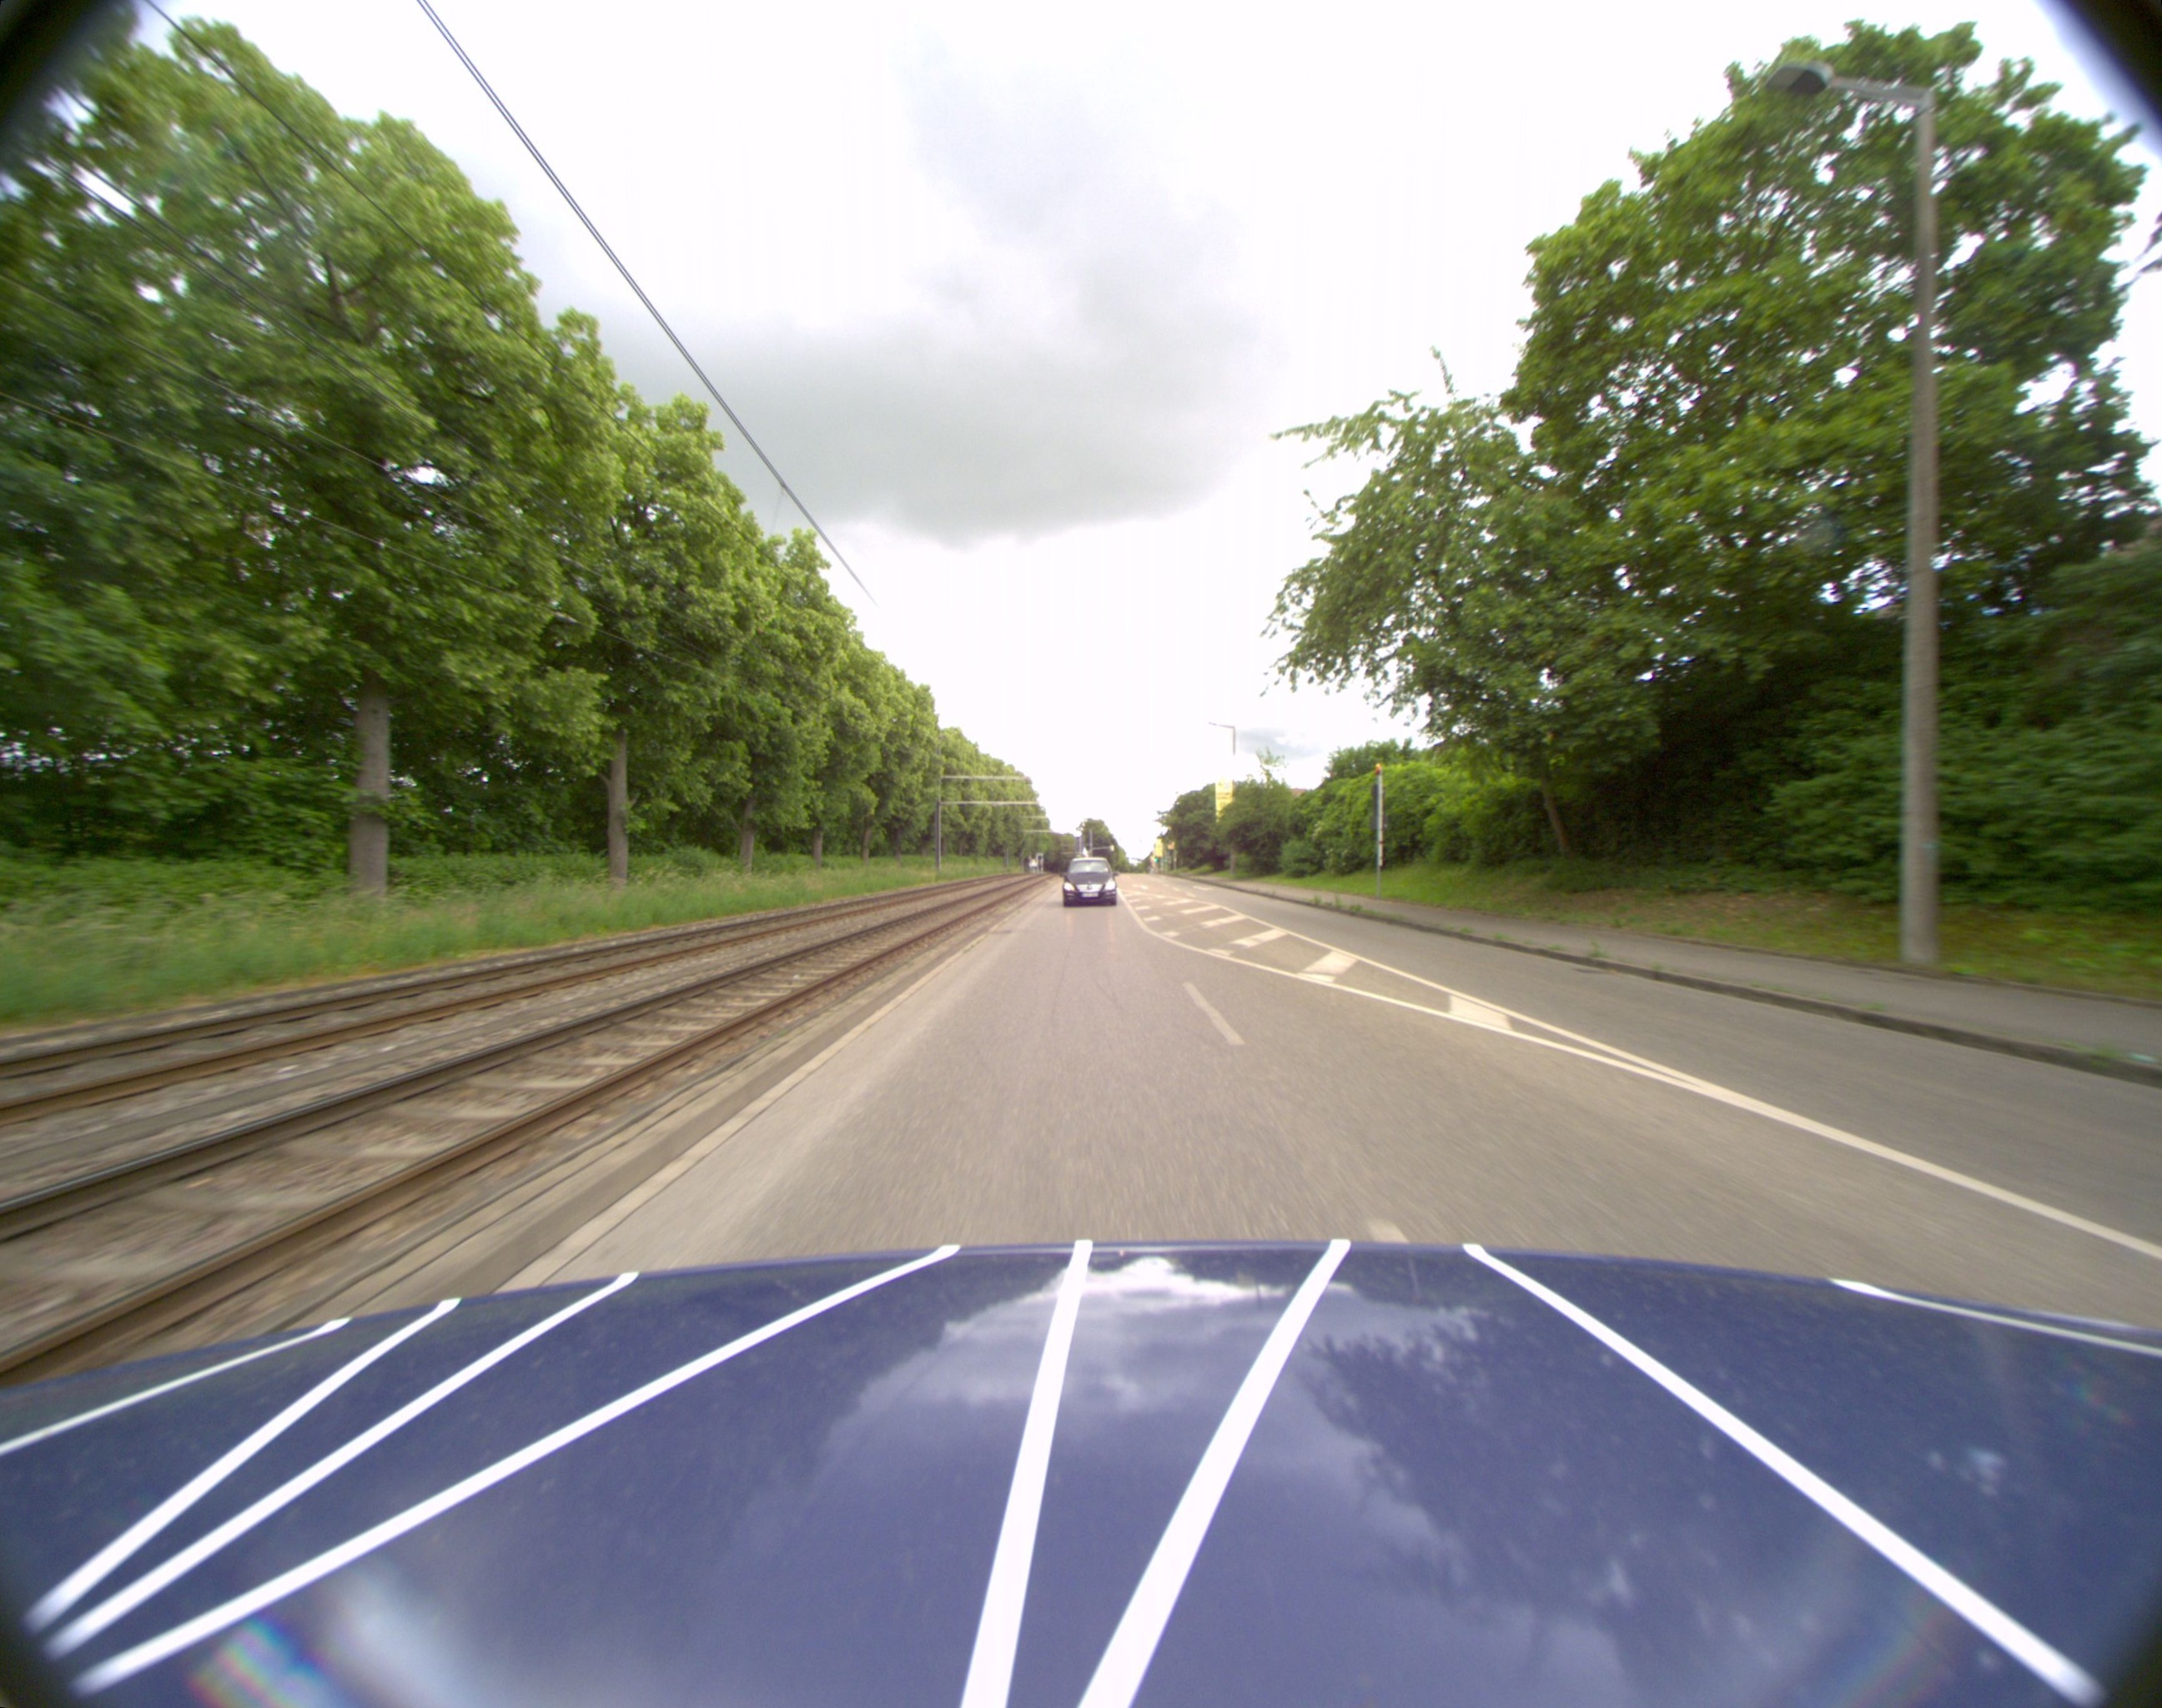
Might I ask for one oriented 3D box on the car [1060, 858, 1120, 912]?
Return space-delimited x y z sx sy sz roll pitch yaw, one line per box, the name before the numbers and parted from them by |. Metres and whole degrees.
car | 0.361 0.938 24.915 1.749 1.558 4.122 -2 0 2
